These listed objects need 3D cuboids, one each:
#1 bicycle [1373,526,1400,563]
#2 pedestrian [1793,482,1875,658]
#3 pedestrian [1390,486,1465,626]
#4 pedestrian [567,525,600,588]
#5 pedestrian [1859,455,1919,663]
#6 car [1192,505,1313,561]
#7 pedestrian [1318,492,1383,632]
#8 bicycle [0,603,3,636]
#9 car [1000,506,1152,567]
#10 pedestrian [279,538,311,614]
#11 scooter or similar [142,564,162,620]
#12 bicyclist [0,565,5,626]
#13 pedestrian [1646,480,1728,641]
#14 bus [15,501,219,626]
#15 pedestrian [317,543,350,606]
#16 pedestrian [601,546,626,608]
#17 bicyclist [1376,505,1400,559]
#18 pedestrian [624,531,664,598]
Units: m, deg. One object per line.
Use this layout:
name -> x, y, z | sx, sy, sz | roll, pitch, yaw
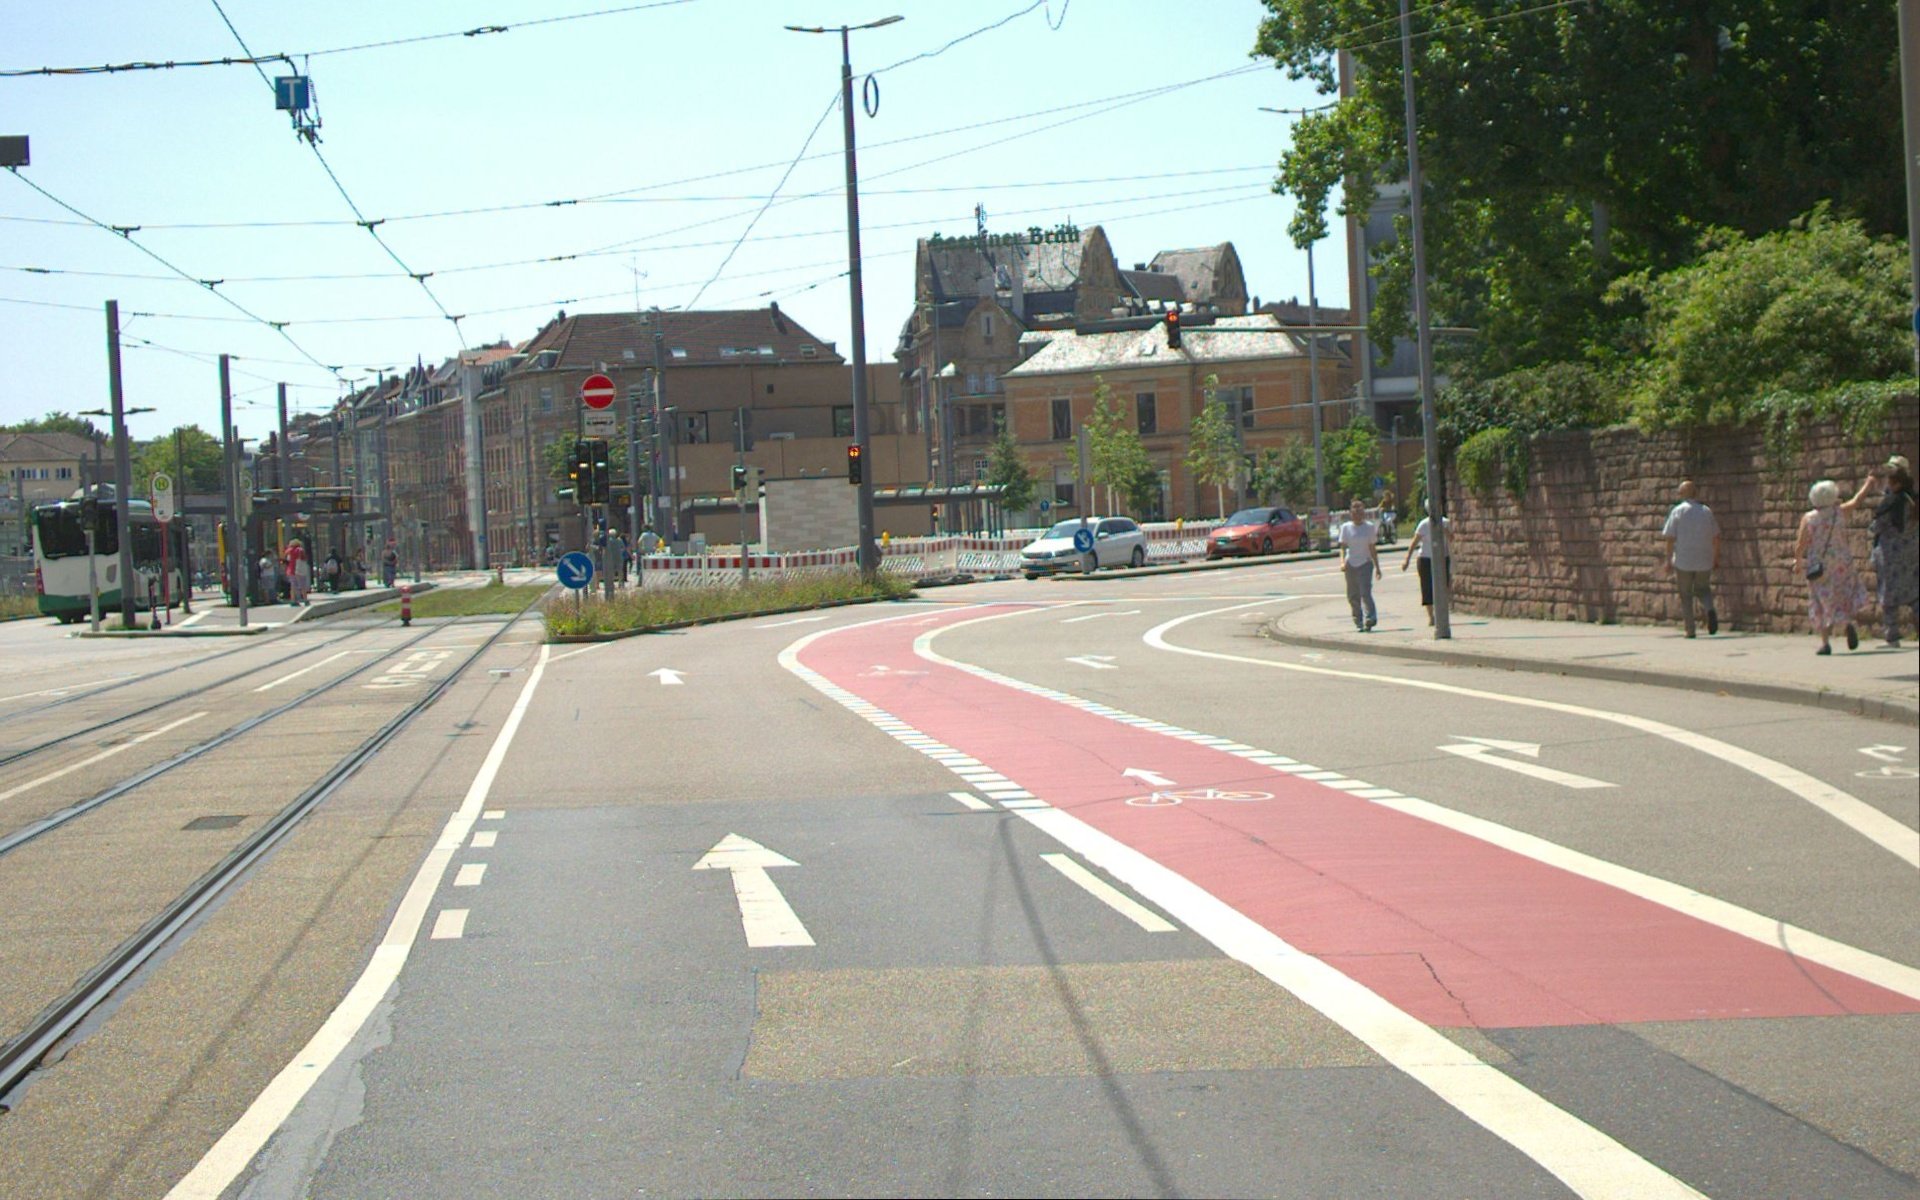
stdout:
bicycle -> 13.913, -1.803, 112.171 | 0.398, 1.170, 1.768 | -3, -1, 22
pedestrian -> 7.784, -0.272, 30.633 | 0.515, 1.527, 0.597 | -3, 1, 0
pedestrian -> 6.190, -0.589, 45.542 | 0.814, 1.801, 0.700 | -3, 1, -1
pedestrian -> -10.289, -1.182, 93.993 | 0.726, 1.701, 0.744 | -2, 0, -17
pedestrian -> 8.400, -0.358, 30.706 | 0.627, 1.768, 0.717 | 2, -6, 17
car -> 8.317, -1.906, 97.383 | 1.734, 1.420, 4.117 | -2, 1, 31
pedestrian -> 5.155, -0.503, 45.381 | 0.677, 1.801, 0.748 | -3, 1, -1
bicycle -> -27.029, 0.552, 95.514 | 0.503, 0.911, 2.371 | 0, 1, -7
car -> 3.009, -1.636, 87.970 | 1.996, 1.433, 4.698 | -2, 1, 28
pedestrian -> -17.013, -0.606, 87.908 | 0.672, 1.903, 0.641 | -3, 1, -15
scooter or similar -> -17.667, -0.186, 75.163 | 0.318, 1.202, 1.249 | -3, 1, -11
bicyclist -> -27.043, -0.112, 95.505 | 0.820, 1.704, 0.771 | -2, 1, -7
pedestrian -> 7.609, -0.418, 36.003 | 0.660, 1.641, 0.624 | -3, 1, 0
bus -> -24.005, -1.118, 98.968 | 3.010, 3.147, 17.501 | -2, 1, -5
pedestrian -> -21.413, -0.884, 117.539 | 0.899, 2.089, 0.831 | -3, 1, -1
pedestrian -> -9.520, -0.628, 94.488 | 0.526, 1.669, 0.752 | -2, 0, -13
bicyclist -> 13.968, -2.226, 112.300 | 0.568, 1.713, 0.506 | -2, -2, 36
pedestrian -> -8.987, -1.016, 97.768 | 0.730, 1.858, 0.765 | -2, 0, 44
